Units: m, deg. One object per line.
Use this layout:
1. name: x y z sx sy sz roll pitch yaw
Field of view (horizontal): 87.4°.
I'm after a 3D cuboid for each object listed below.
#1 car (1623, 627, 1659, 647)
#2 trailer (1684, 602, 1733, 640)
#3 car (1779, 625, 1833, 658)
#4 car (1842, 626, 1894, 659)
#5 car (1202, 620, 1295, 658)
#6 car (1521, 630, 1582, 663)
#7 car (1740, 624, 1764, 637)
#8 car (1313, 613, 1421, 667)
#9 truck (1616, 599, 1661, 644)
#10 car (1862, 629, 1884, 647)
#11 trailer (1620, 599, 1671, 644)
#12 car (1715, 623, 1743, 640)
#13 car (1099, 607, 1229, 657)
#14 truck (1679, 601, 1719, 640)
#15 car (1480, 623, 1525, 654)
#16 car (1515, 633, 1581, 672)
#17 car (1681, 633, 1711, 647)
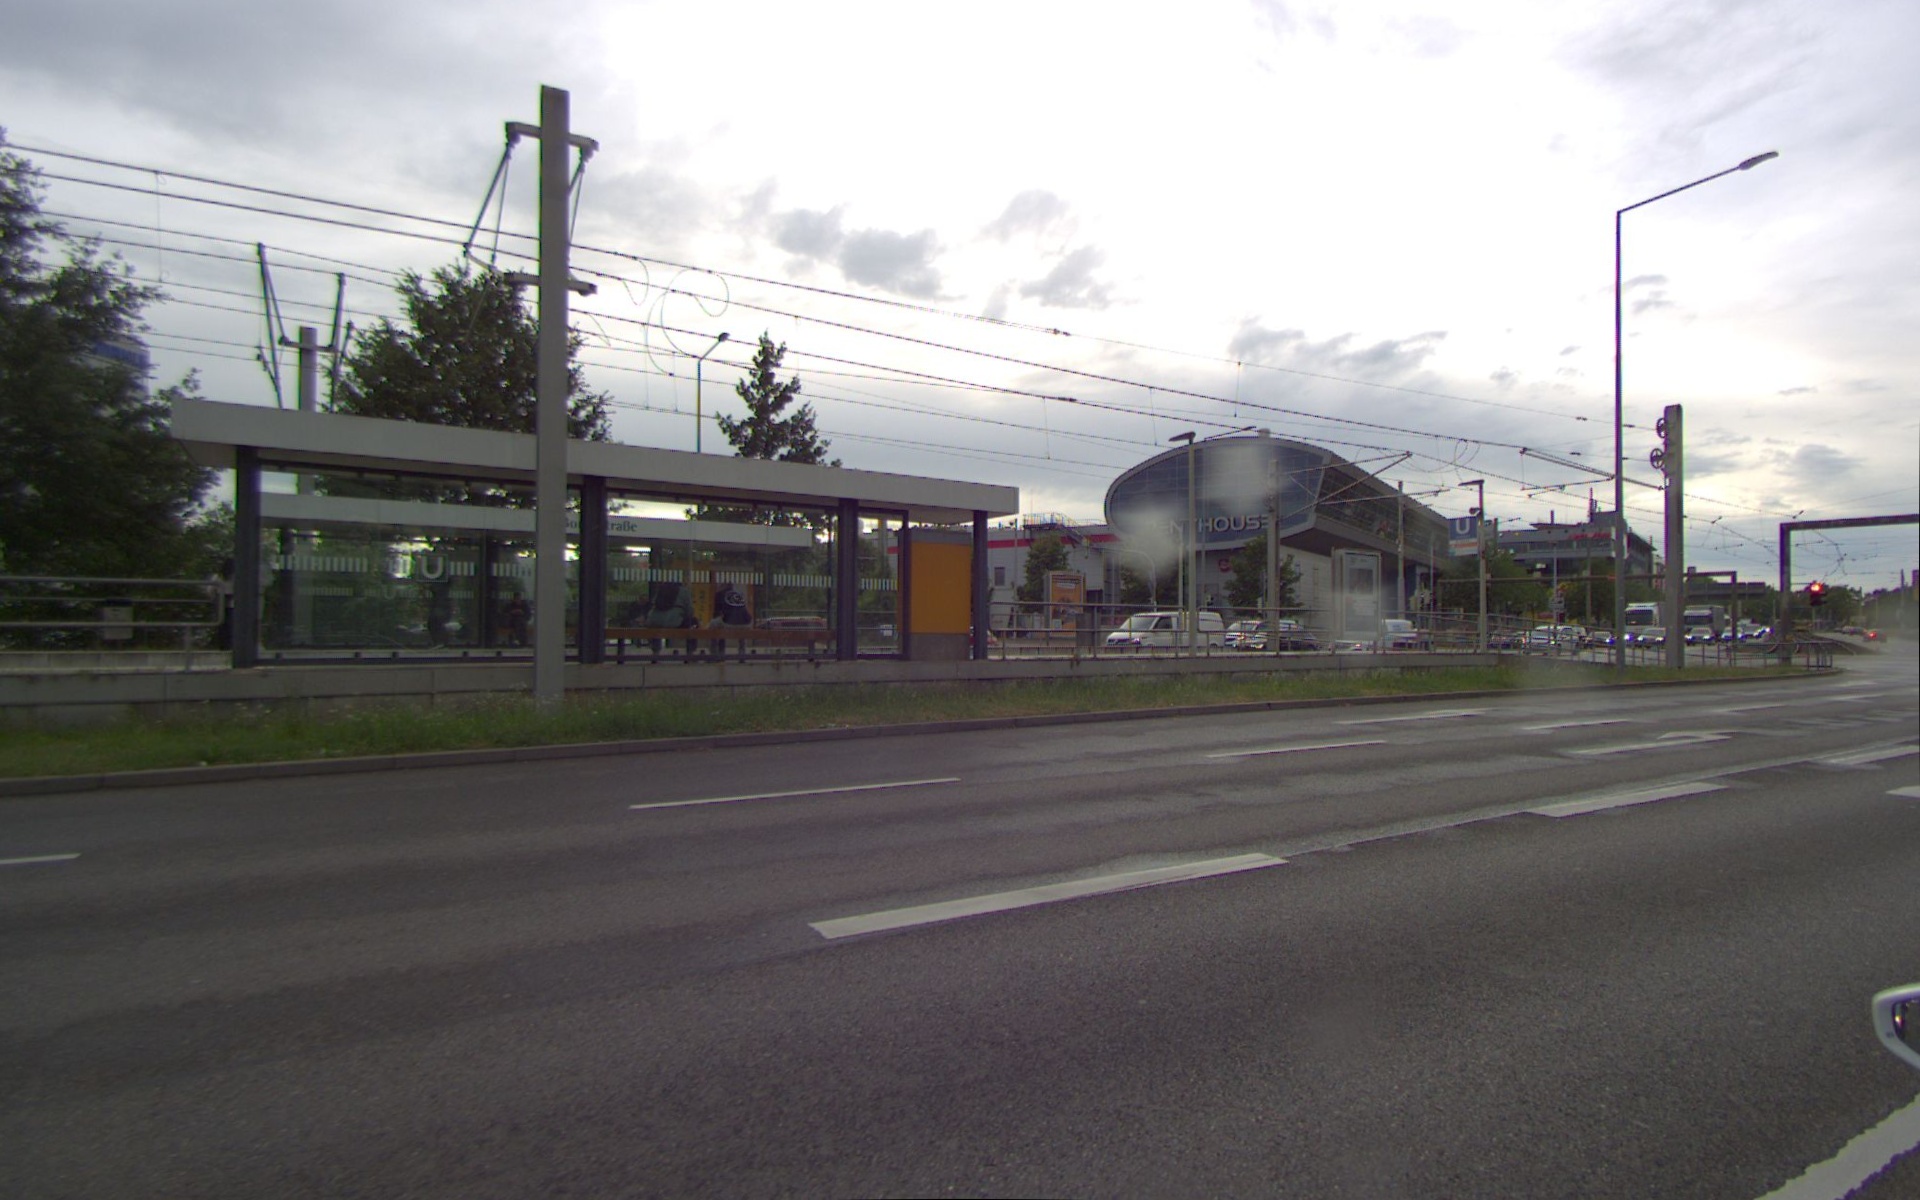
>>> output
1. car: 55.822 3.055 82.314 1.720 1.481 4.128 2 0 44
2. trailer: 87.085 2.540 116.730 12.663 4.178 2.623 3 -3 -45
3. car: 54.938 2.653 65.224 4.307 2.040 1.760 1 1 -37
4. car: 60.116 2.779 66.492 4.307 2.040 1.760 1 1 -37
5. car: 14.349 1.948 49.856 4.624 1.722 2.089 3 0 -38
6. car: 33.003 2.597 56.005 4.233 1.688 1.516 3 0 -39
7. car: 102.917 3.979 130.503 1.883 1.576 4.538 2 0 44
8. car: 18.323 1.798 45.120 5.092 2.244 1.980 2 0 -35
9. truck: 63.358 2.046 93.728 2.800 4.049 5.956 -1 -2 41
10. car: 107.527 4.497 118.348 1.752 2.040 4.325 2 0 41
11. trailer: 66.849 2.135 97.824 2.762 4.161 11.386 -1 -2 41
12. car: 83.165 3.427 108.657 4.069 1.674 1.868 3 0 -45
13. car: 7.756 1.226 37.993 4.983 1.754 1.979 3 0 -36
14. truck: 82.804 2.316 112.493 6.144 4.184 2.641 3 -3 -44
15. car: 38.346 2.700 70.922 1.753 2.040 4.324 2 0 42
16. car: 32.956 2.910 56.226 4.311 2.040 1.758 3 0 -39
17. car: 69.821 3.784 95.229 1.886 1.281 4.391 2 0 42
